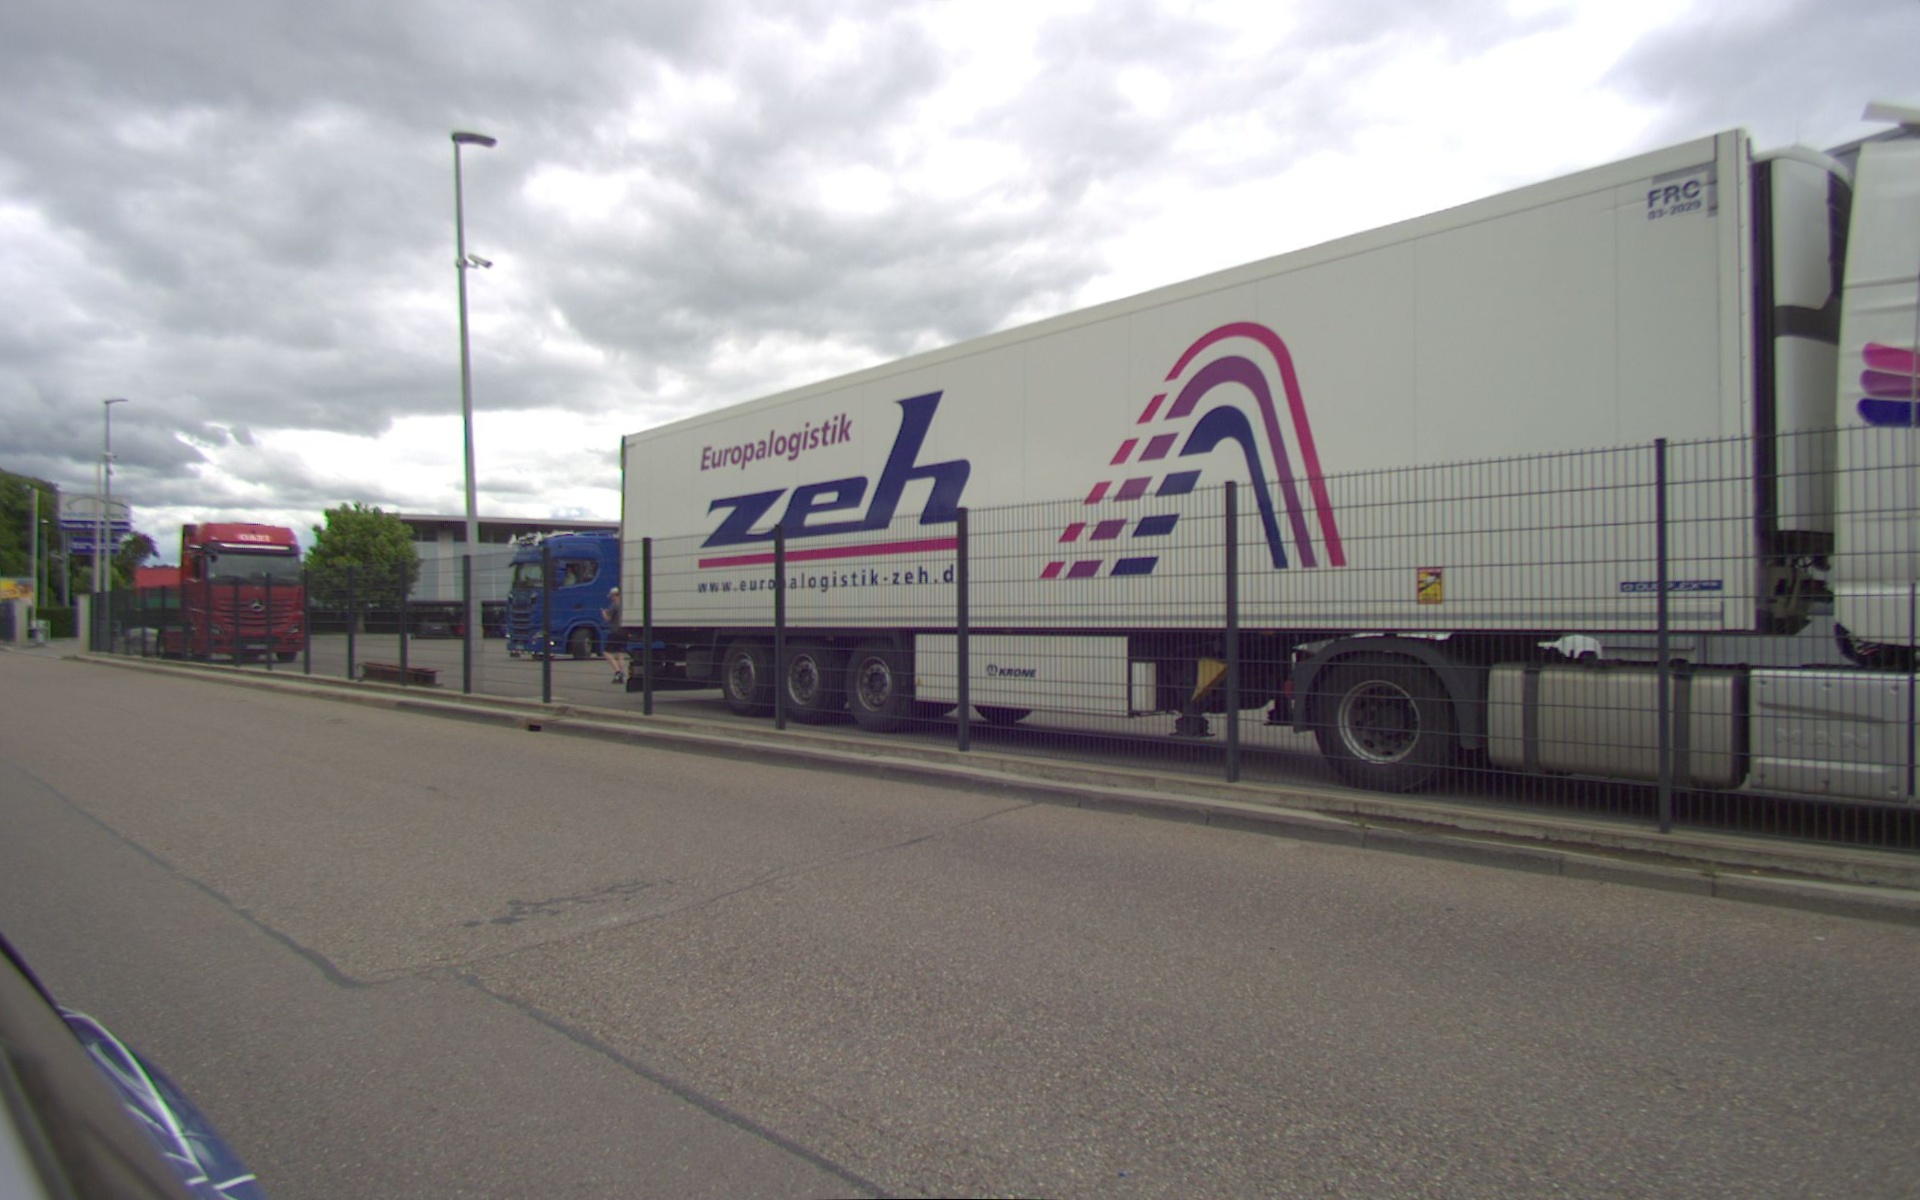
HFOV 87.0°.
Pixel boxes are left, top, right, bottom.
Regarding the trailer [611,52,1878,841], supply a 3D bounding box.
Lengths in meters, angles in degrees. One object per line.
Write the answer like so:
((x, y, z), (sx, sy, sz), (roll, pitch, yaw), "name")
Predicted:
((0.893, -0.665, 11.420), (13.855, 4.192, 3.321), (-1, -3, 45), "trailer")

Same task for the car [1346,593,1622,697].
((10.349, 0.870, 19.880), (5.595, 1.823, 1.950), (1, -2, -28), "car")

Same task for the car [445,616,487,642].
((-34.163, 1.956, 69.974), (1.967, 1.730, 4.009), (0, -1, -36), "car")

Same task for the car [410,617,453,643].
((-35.482, 1.990, 67.890), (1.967, 1.730, 4.009), (0, -1, -36), "car")

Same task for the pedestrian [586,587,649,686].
((-6.544, 0.692, 19.336), (0.879, 1.834, 0.795), (-1, -1, 38), "pedestrian")

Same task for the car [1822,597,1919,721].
((14.382, 0.749, 14.297), (4.010, 1.589, 1.950), (-2, -1, -28), "car")

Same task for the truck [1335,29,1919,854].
((5.847, -0.761, 6.473), (5.630, 4.192, 3.321), (-1, -3, 45), "truck")

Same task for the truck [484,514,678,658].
((-11.927, -0.295, 32.061), (3.047, 4.164, 4.814), (-1, -3, 42), "truck")

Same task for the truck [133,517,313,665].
((-21.491, -0.149, 29.426), (5.668, 3.878, 2.982), (-1, -3, 41), "truck")

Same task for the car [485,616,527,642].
((-31.875, 2.022, 71.024), (1.967, 1.730, 4.009), (0, -1, -36), "car")

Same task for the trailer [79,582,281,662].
((-25.936, 0.756, 33.284), (12.043, 2.209, 3.006), (-1, -3, 42), "trailer")

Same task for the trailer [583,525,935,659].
((-6.817, -0.051, 35.909), (11.841, 4.164, 3.057), (2, -3, -31), "trailer")
